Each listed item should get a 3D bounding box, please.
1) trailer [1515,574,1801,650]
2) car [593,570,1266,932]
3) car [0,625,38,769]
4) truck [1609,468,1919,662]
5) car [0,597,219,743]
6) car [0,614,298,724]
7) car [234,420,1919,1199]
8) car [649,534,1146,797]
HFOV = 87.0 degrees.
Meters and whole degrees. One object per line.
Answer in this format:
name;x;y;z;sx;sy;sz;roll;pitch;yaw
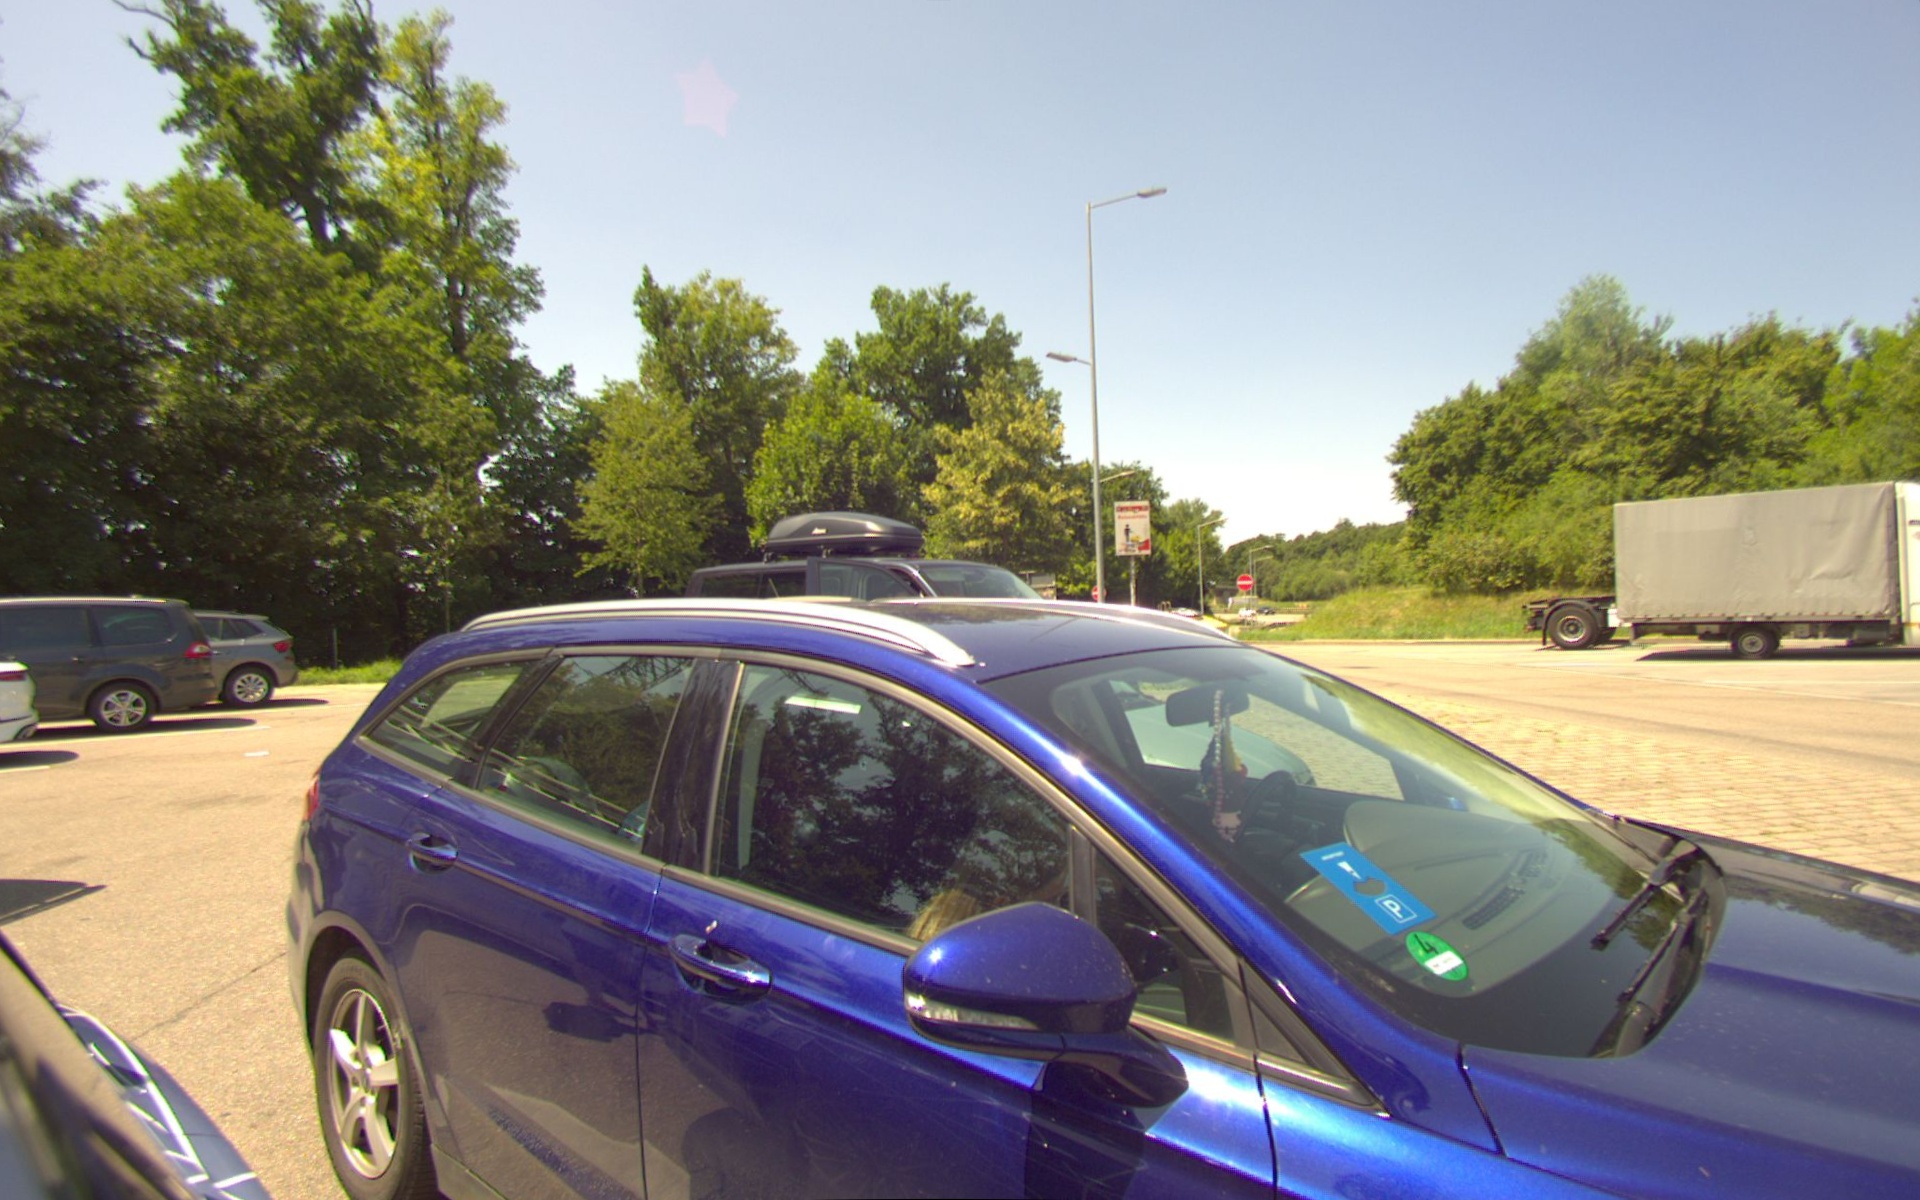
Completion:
trailer;16.321;0.339;23.921;5.393;1.608;1.576;-2;-1;41
car;-0.375;0.650;5.809;3.739;1.424;1.587;-2;-1;40
car;-10.970;0.944;9.201;3.753;1.377;1.804;0;-1;-45
truck;16.700;-0.625;18.848;7.308;3.258;2.294;-5;-2;43
car;-11.723;0.835;12.590;3.830;1.703;1.883;0;-2;-45
car;-12.606;0.971;15.615;3.753;1.488;1.743;0;-1;-45
car;0.230;0.651;2.088;4.427;1.455;1.763;-2;-1;40
car;-0.742;0.532;9.420;4.427;1.875;2.022;-2;-1;40
